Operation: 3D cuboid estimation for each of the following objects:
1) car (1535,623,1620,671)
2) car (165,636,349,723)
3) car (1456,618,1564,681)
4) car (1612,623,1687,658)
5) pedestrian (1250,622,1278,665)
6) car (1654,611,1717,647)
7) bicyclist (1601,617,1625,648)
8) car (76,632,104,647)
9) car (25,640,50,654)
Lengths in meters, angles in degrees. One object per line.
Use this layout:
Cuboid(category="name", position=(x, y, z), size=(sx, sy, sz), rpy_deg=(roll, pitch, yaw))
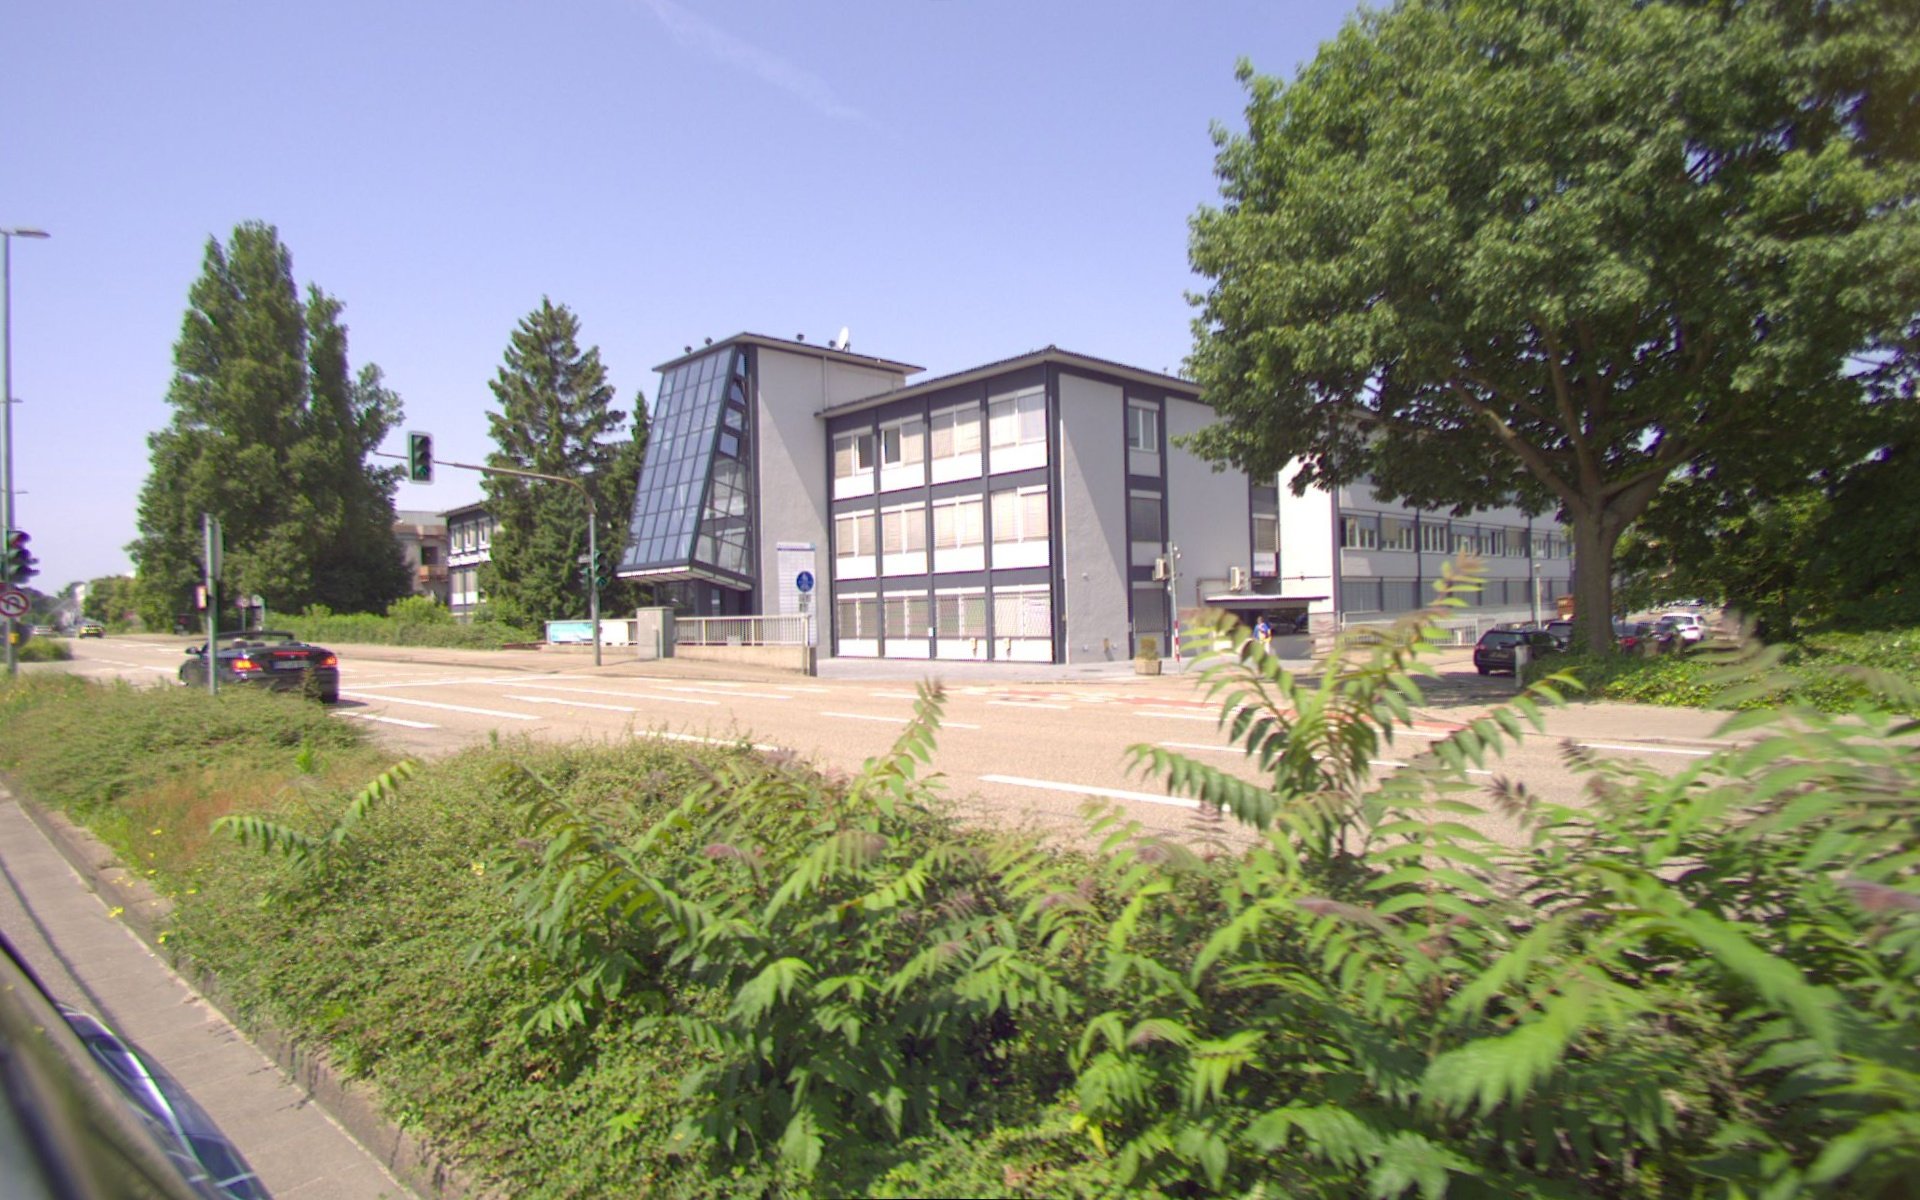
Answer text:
Cuboid(category="car", position=(21.298, 1.575, 34.834), size=(1.716, 1.542, 3.943), rpy_deg=(-2, -2, 43))
Cuboid(category="car", position=(-12.513, 1.324, 17.926), size=(4.147, 1.334, 1.711), rpy_deg=(-2, -2, 41))
Cuboid(category="car", position=(16.847, 1.454, 30.929), size=(1.920, 1.607, 3.943), rpy_deg=(-2, 0, 44))
Cuboid(category="car", position=(28.870, 1.662, 42.344), size=(3.940, 1.381, 1.814), rpy_deg=(1, -2, -44))
Cuboid(category="pedestrian", position=(11.745, 1.675, 39.108), size=(0.857, 1.637, 0.677), rpy_deg=(-2, -2, 34))
Cuboid(category="car", position=(33.426, 1.348, 46.592), size=(1.719, 1.586, 3.941), rpy_deg=(-2, -2, 45))
Cuboid(category="bicyclist", position=(30.824, 1.525, 47.767), size=(0.745, 1.420, 0.848), rpy_deg=(-2, -3, 45))
Cuboid(category="car", position=(-93.705, 4.258, 108.964), size=(4.287, 1.572, 1.873), rpy_deg=(-2, -2, 43))
Cuboid(category="car", position=(-102.891, 5.258, 112.814), size=(4.092, 1.429, 1.740), rpy_deg=(-1, -1, 43))
